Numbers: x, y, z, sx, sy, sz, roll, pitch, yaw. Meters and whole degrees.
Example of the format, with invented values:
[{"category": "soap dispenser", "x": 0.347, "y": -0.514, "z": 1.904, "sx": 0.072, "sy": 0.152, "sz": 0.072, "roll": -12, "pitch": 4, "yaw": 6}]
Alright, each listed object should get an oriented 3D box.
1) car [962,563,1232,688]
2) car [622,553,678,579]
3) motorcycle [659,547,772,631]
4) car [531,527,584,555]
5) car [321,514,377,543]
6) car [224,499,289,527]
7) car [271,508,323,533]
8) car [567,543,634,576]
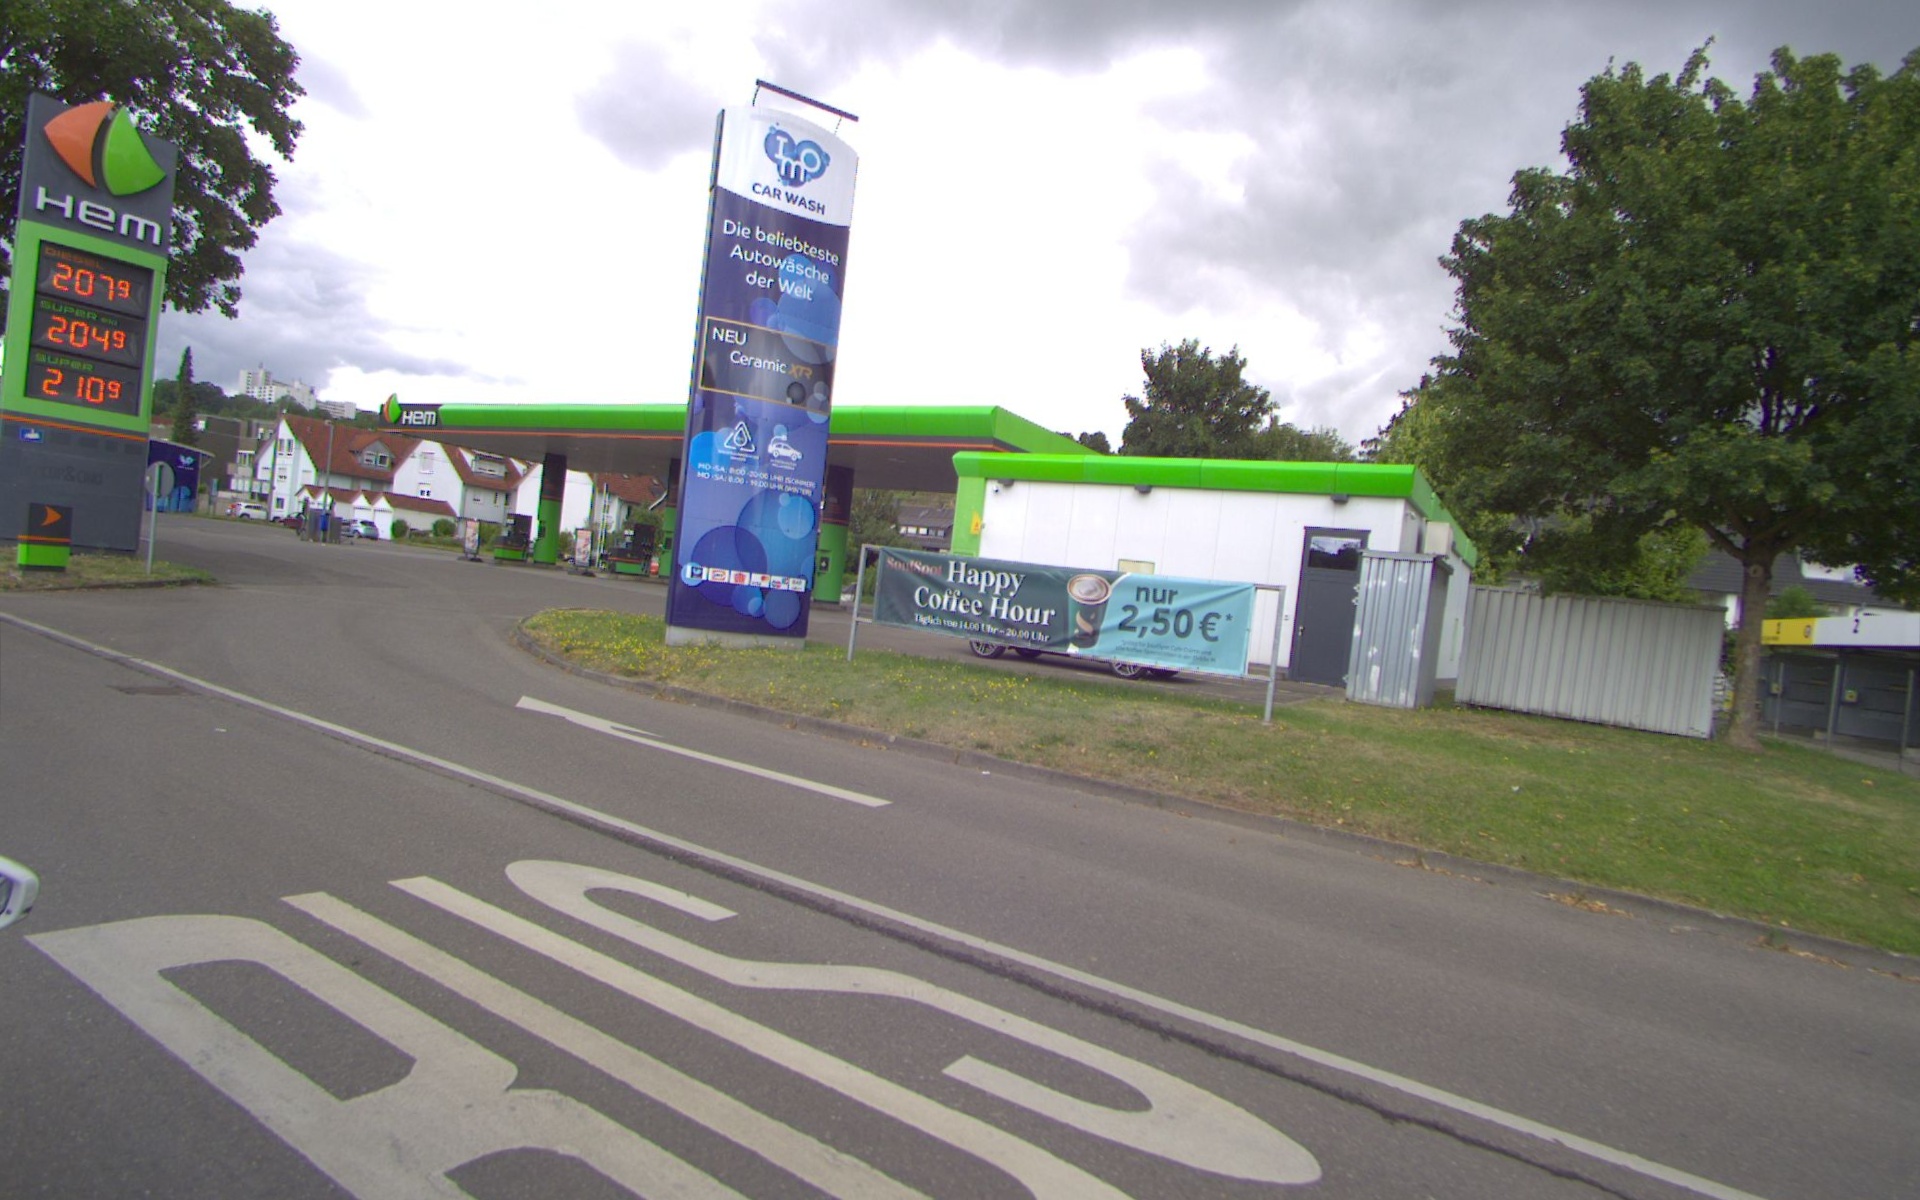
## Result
[{"category": "car", "x": 2.389, "y": 0.398, "z": 17.914, "sx": 4.265, "sy": 1.697, "sz": 1.821, "roll": 6, "pitch": 2, "yaw": 32}, {"category": "car", "x": -20.810, "y": -2.297, "z": 67.467, "sx": 3.273, "sy": 1.279, "sz": 1.421, "roll": 7, "pitch": -1, "yaw": 20}, {"category": "motorcycle", "x": -4.671, "y": -0.216, "z": 19.177, "sx": 1.957, "sy": 1.348, "sz": 0.856, "roll": 7, "pitch": 1, "yaw": 32}, {"category": "car", "x": -31.134, "y": -4.566, "z": 77.726, "sx": 3.934, "sy": 1.705, "sz": 1.691, "roll": 7, "pitch": 1, "yaw": 32}, {"category": "car", "x": -46.104, "y": -5.417, "z": 75.937, "sx": 3.667, "sy": 1.618, "sz": 1.539, "roll": 7, "pitch": -1, "yaw": 20}, {"category": "car", "x": -62.453, "y": -7.732, "z": 89.356, "sx": 1.747, "sy": 1.704, "sz": 4.225, "roll": 7, "pitch": -2, "yaw": 29}, {"category": "car", "x": -51.240, "y": -6.161, "z": 77.737, "sx": 3.354, "sy": 1.411, "sz": 1.587, "roll": 7, "pitch": -1, "yaw": 20}, {"category": "car", "x": -24.679, "y": -2.775, "z": 69.104, "sx": 3.925, "sy": 1.709, "sz": 1.762, "roll": 7, "pitch": -1, "yaw": 20}]
